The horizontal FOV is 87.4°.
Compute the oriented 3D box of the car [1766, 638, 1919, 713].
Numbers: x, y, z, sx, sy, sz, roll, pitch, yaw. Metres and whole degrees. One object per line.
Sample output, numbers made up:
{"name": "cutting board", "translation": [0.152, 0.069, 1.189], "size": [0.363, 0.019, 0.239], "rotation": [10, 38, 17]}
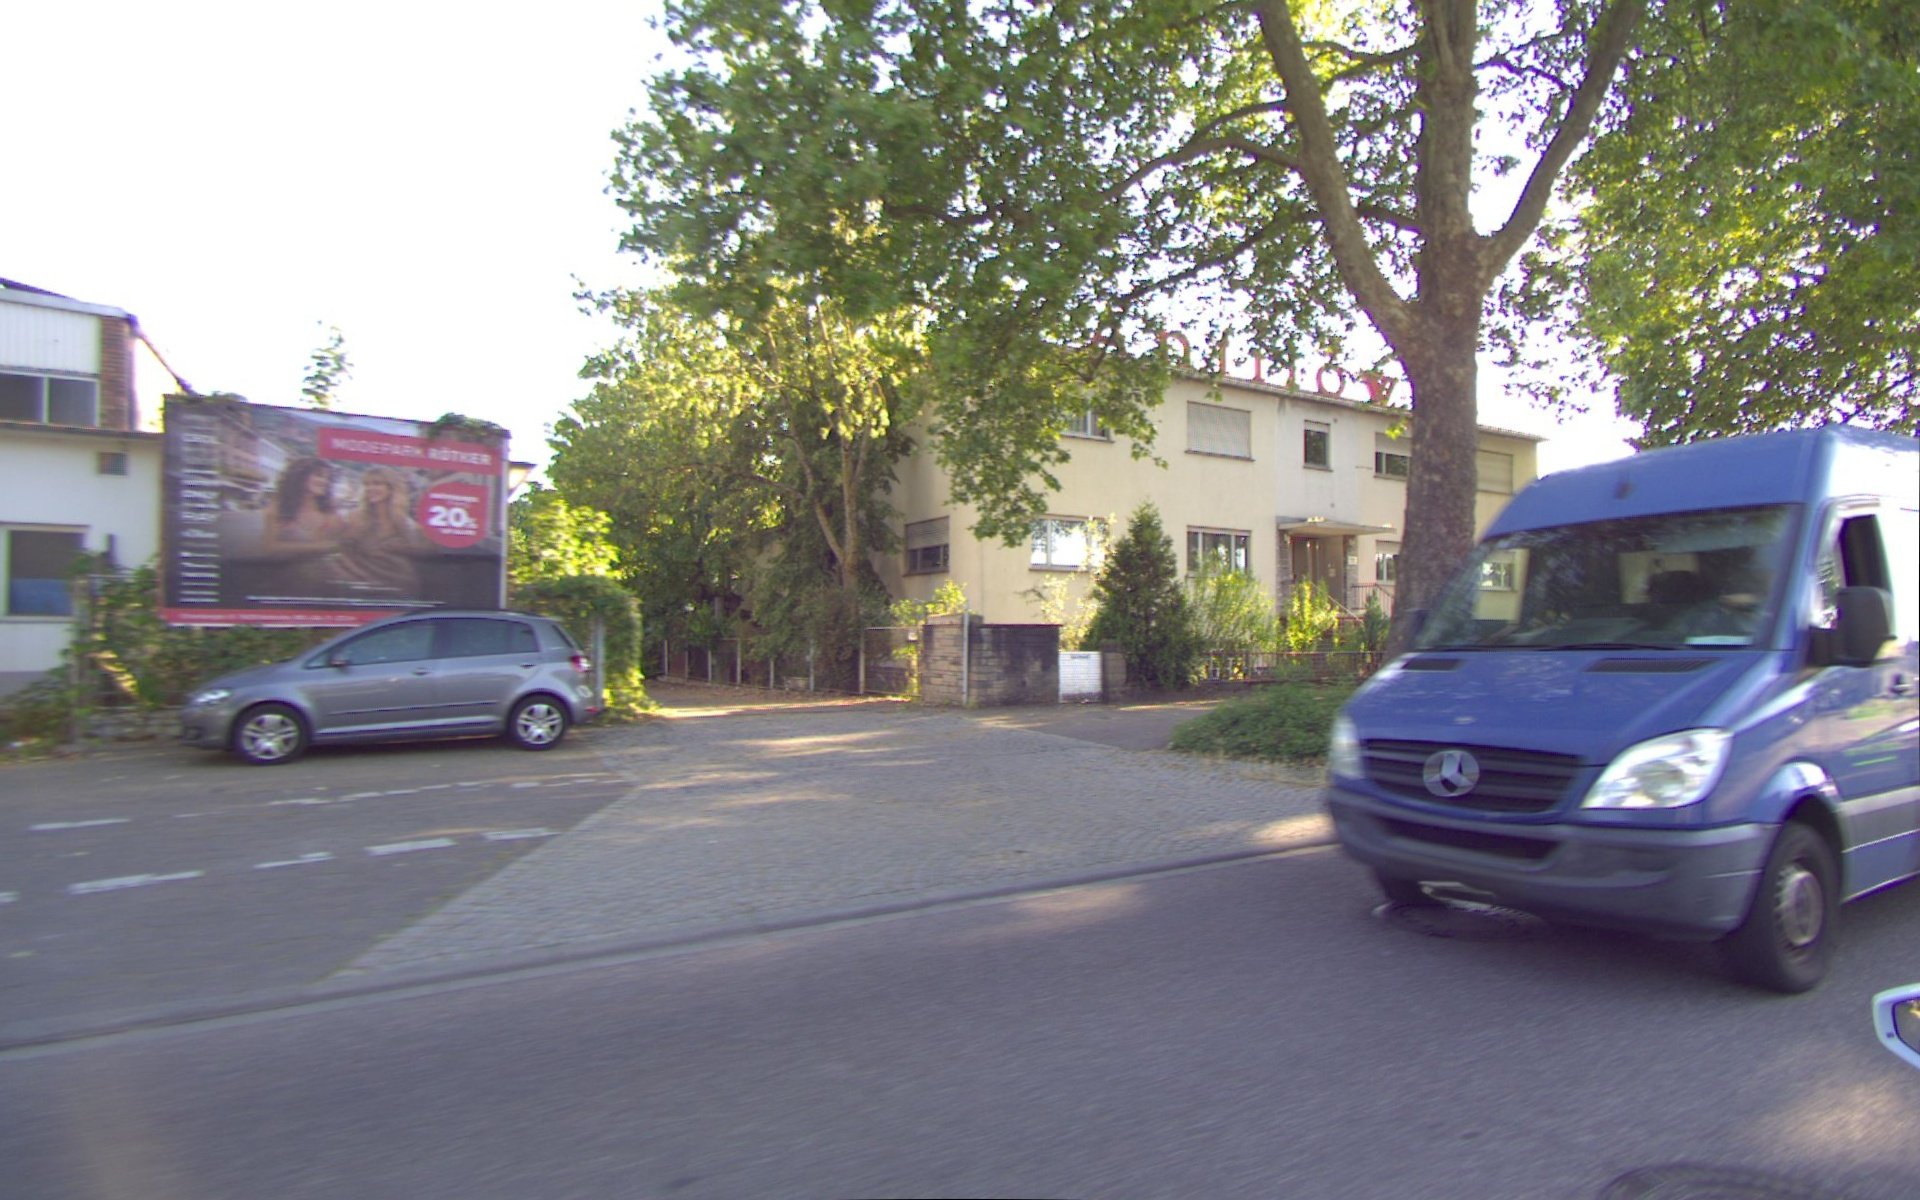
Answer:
{"name": "car", "translation": [19.784, 1.541, 20.694], "size": [1.977, 1.441, 4.578], "rotation": [0, -2, -30]}

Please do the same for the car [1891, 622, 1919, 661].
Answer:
{"name": "car", "translation": [48.051, 2.032, 48.136], "size": [1.978, 1.843, 4.721], "rotation": [2, -1, -31]}

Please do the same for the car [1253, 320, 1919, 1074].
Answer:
{"name": "car", "translation": [5.106, 0.399, 6.299], "size": [6.920, 2.694, 2.117], "rotation": [0, -2, -31]}

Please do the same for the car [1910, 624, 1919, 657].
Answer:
{"name": "car", "translation": [50.408, 2.081, 49.674], "size": [1.978, 1.655, 4.688], "rotation": [2, -1, -31]}

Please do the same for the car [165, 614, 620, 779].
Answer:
{"name": "car", "translation": [-6.329, 1.002, 11.662], "size": [4.221, 1.597, 1.985], "rotation": [2, -1, -29]}
